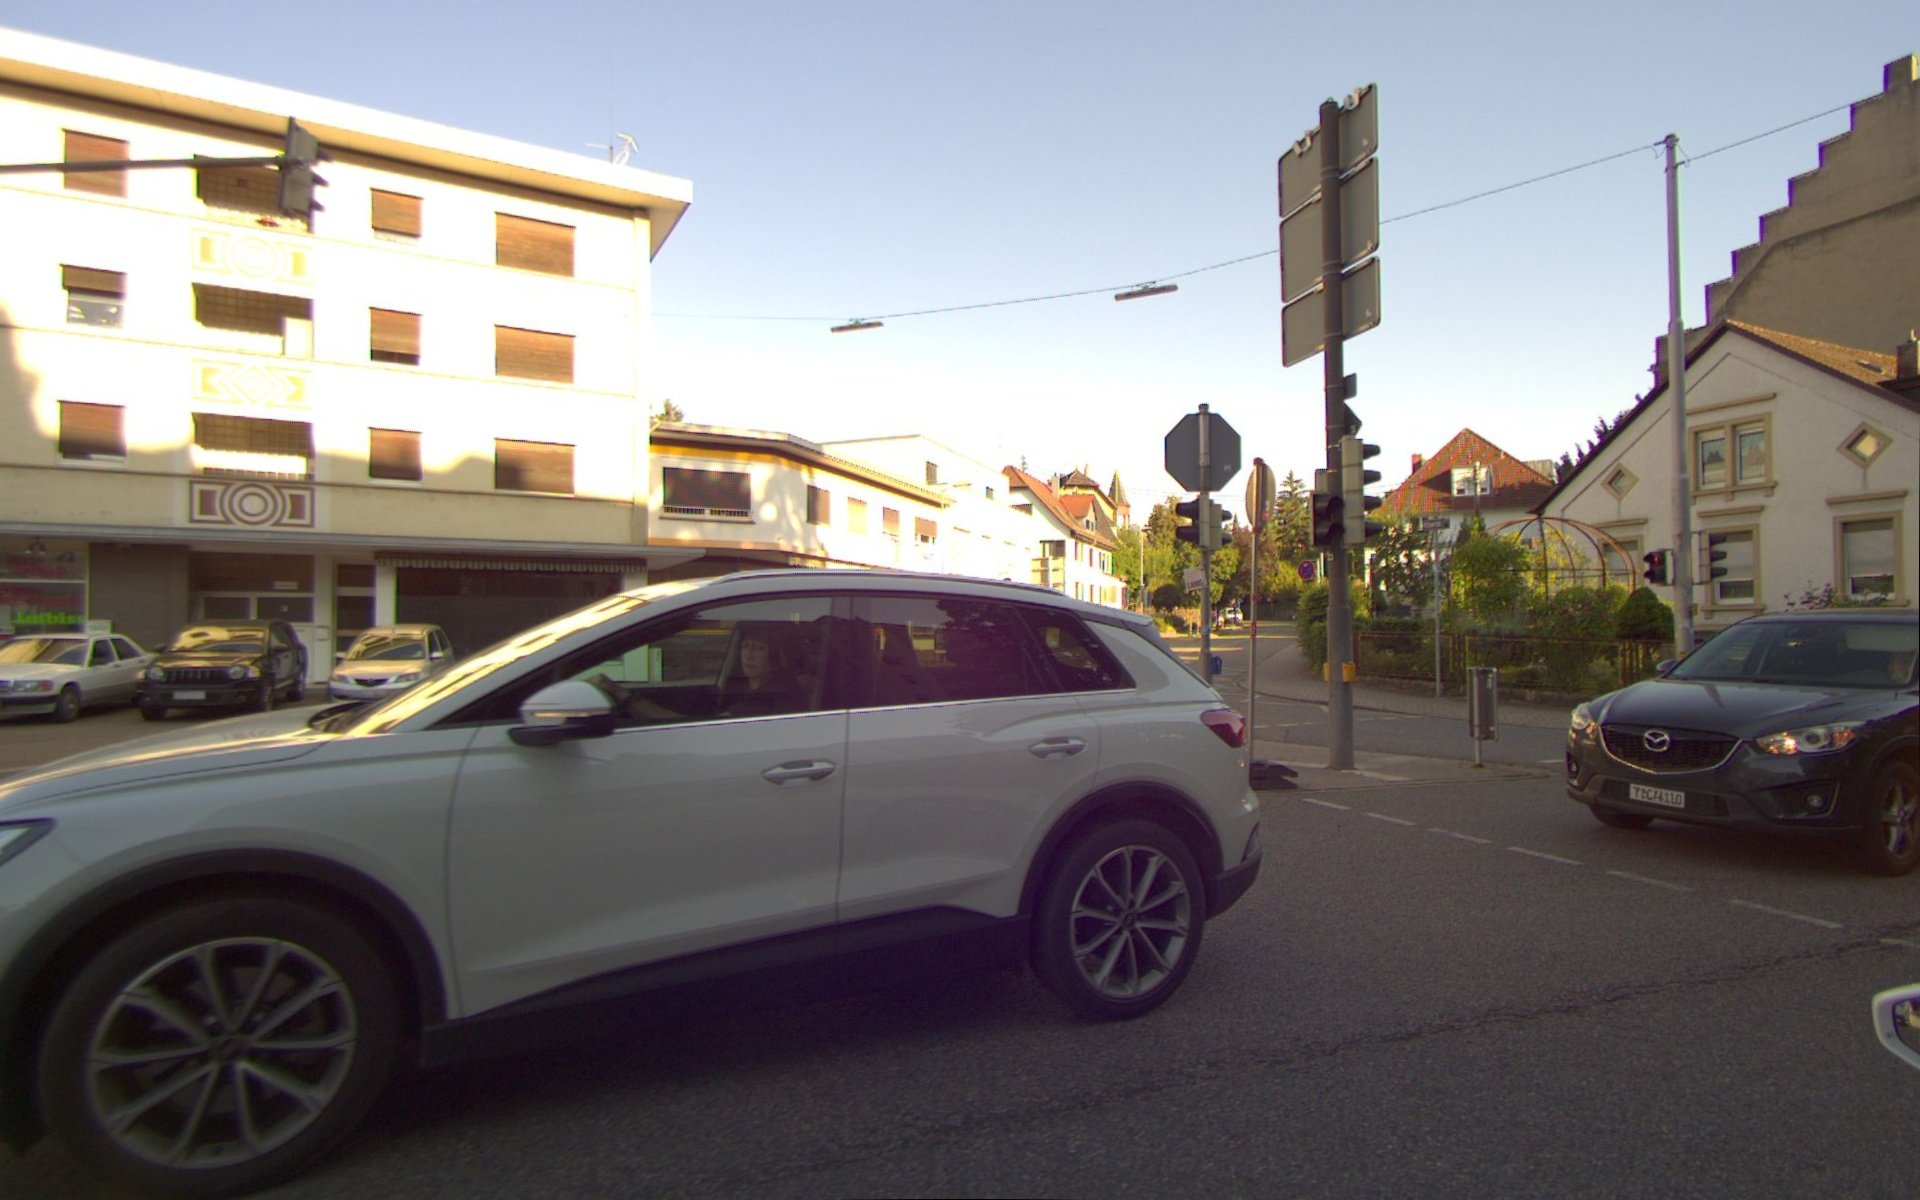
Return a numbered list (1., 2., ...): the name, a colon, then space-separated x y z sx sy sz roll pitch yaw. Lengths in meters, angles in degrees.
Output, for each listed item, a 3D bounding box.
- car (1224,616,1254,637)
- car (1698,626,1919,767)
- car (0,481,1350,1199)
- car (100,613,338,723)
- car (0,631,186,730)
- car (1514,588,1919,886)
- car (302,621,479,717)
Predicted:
1. car: 28.065 2.597 101.017 1.964 2.040 3.993 0 -1 29
2. car: 12.423 1.184 13.068 4.198 1.670 1.960 0 0 1
3. car: -0.802 0.592 3.834 4.476 1.670 1.769 0 -1 -27
4. car: -13.211 1.104 18.286 1.966 1.737 4.315 0 -1 -14
5. car: -15.578 1.297 17.311 1.966 1.417 4.315 0 -1 -14
6. car: 6.406 0.787 7.422 4.224 1.670 1.948 0 -1 -25
7. car: -11.157 1.263 20.046 1.966 1.632 4.316 0 -1 -14
